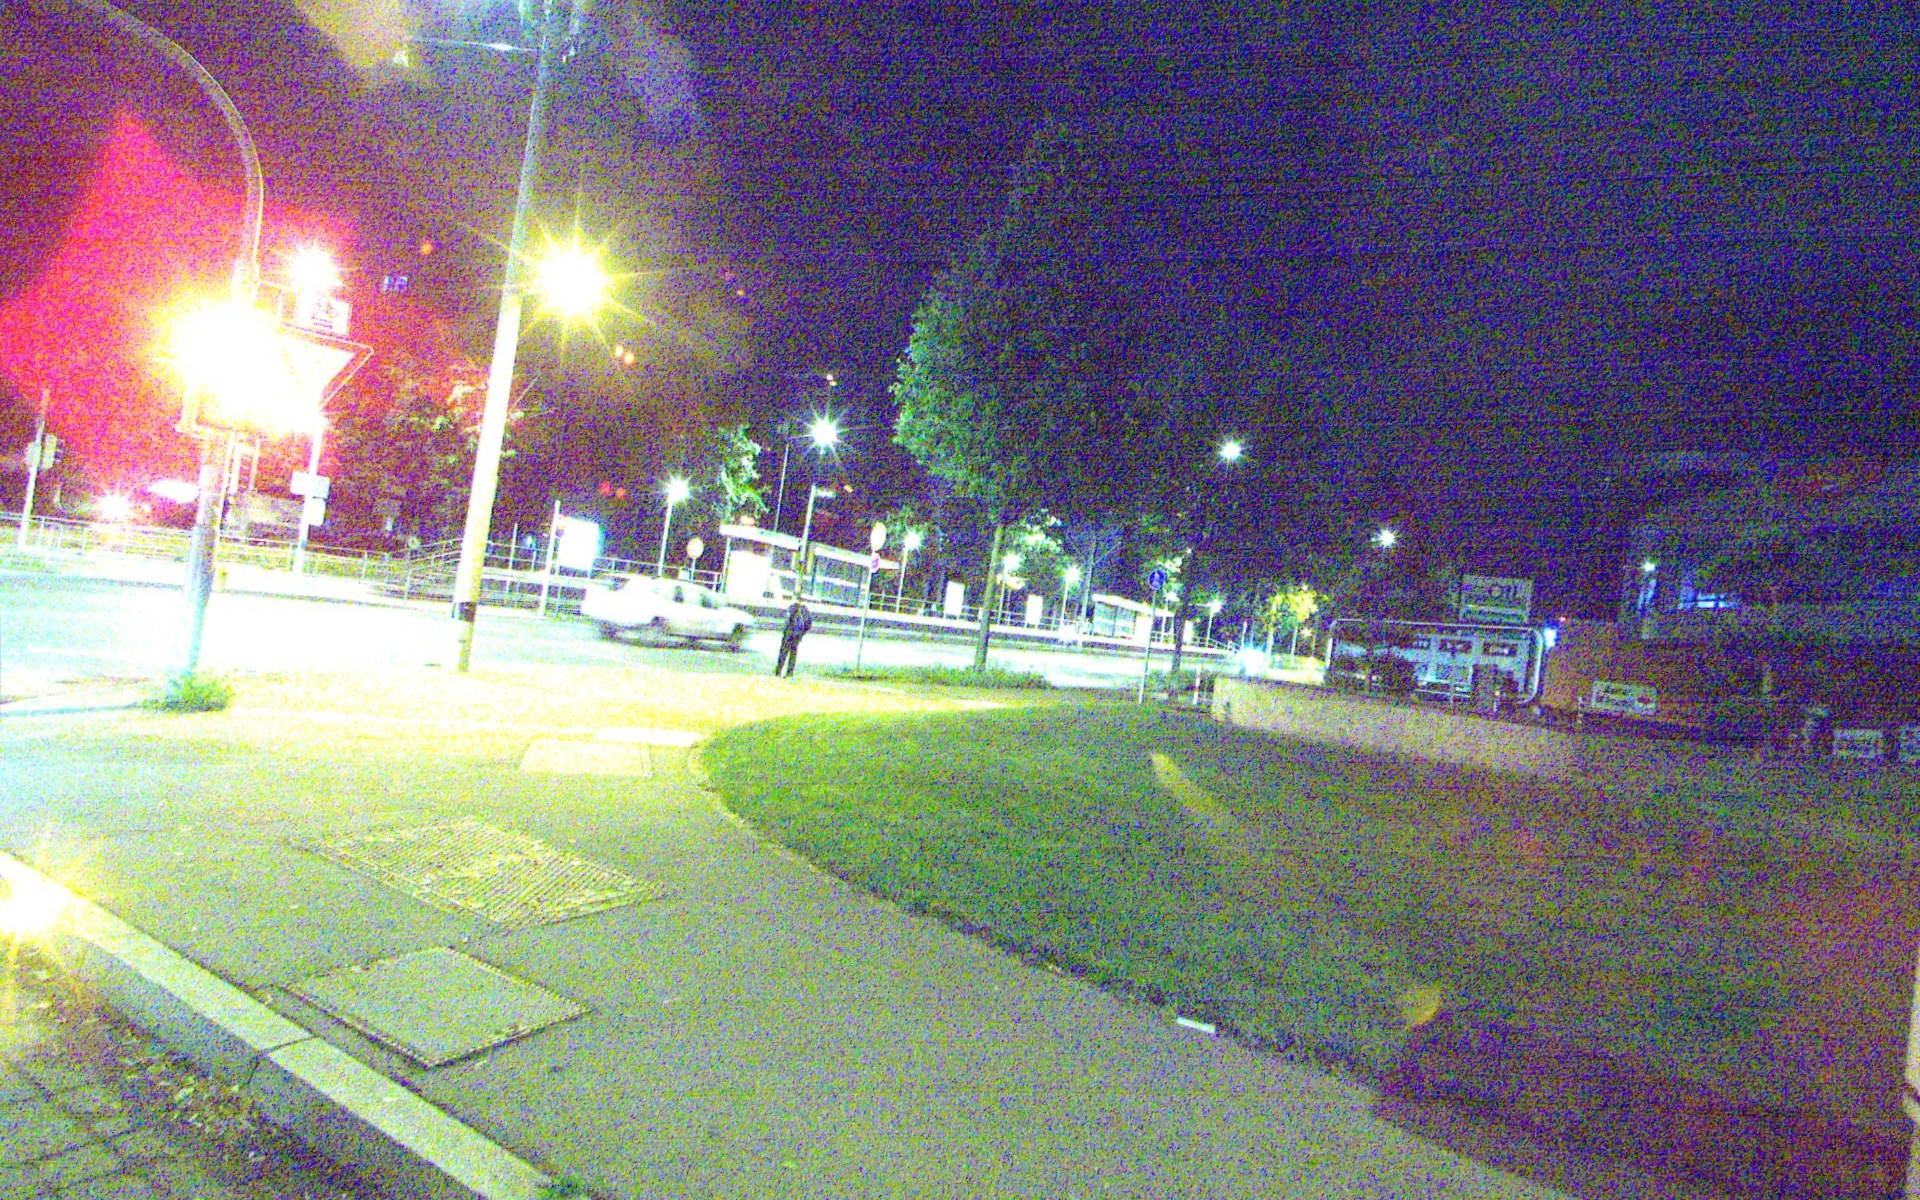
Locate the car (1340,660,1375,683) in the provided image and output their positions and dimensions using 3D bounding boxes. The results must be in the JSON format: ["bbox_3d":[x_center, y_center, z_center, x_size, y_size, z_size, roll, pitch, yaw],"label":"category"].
[{"bbox_3d":[36.255,6.518,91.689,1.784,1.584,4.514,10,0,35],"label":"car"}]

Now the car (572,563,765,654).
[{"bbox_3d":[-7.069,0.269,24.852,1.845,1.703,4.288,8,0,32],"label":"car"}]

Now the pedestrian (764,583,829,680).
[{"bbox_3d":[-3.158,0.611,19.488,0.820,1.767,0.755,5,1,31],"label":"pedestrian"}]

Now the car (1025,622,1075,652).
[{"bbox_3d":[6.995,2.853,78.040,1.970,2.039,3.985,6,0,36],"label":"car"}]
